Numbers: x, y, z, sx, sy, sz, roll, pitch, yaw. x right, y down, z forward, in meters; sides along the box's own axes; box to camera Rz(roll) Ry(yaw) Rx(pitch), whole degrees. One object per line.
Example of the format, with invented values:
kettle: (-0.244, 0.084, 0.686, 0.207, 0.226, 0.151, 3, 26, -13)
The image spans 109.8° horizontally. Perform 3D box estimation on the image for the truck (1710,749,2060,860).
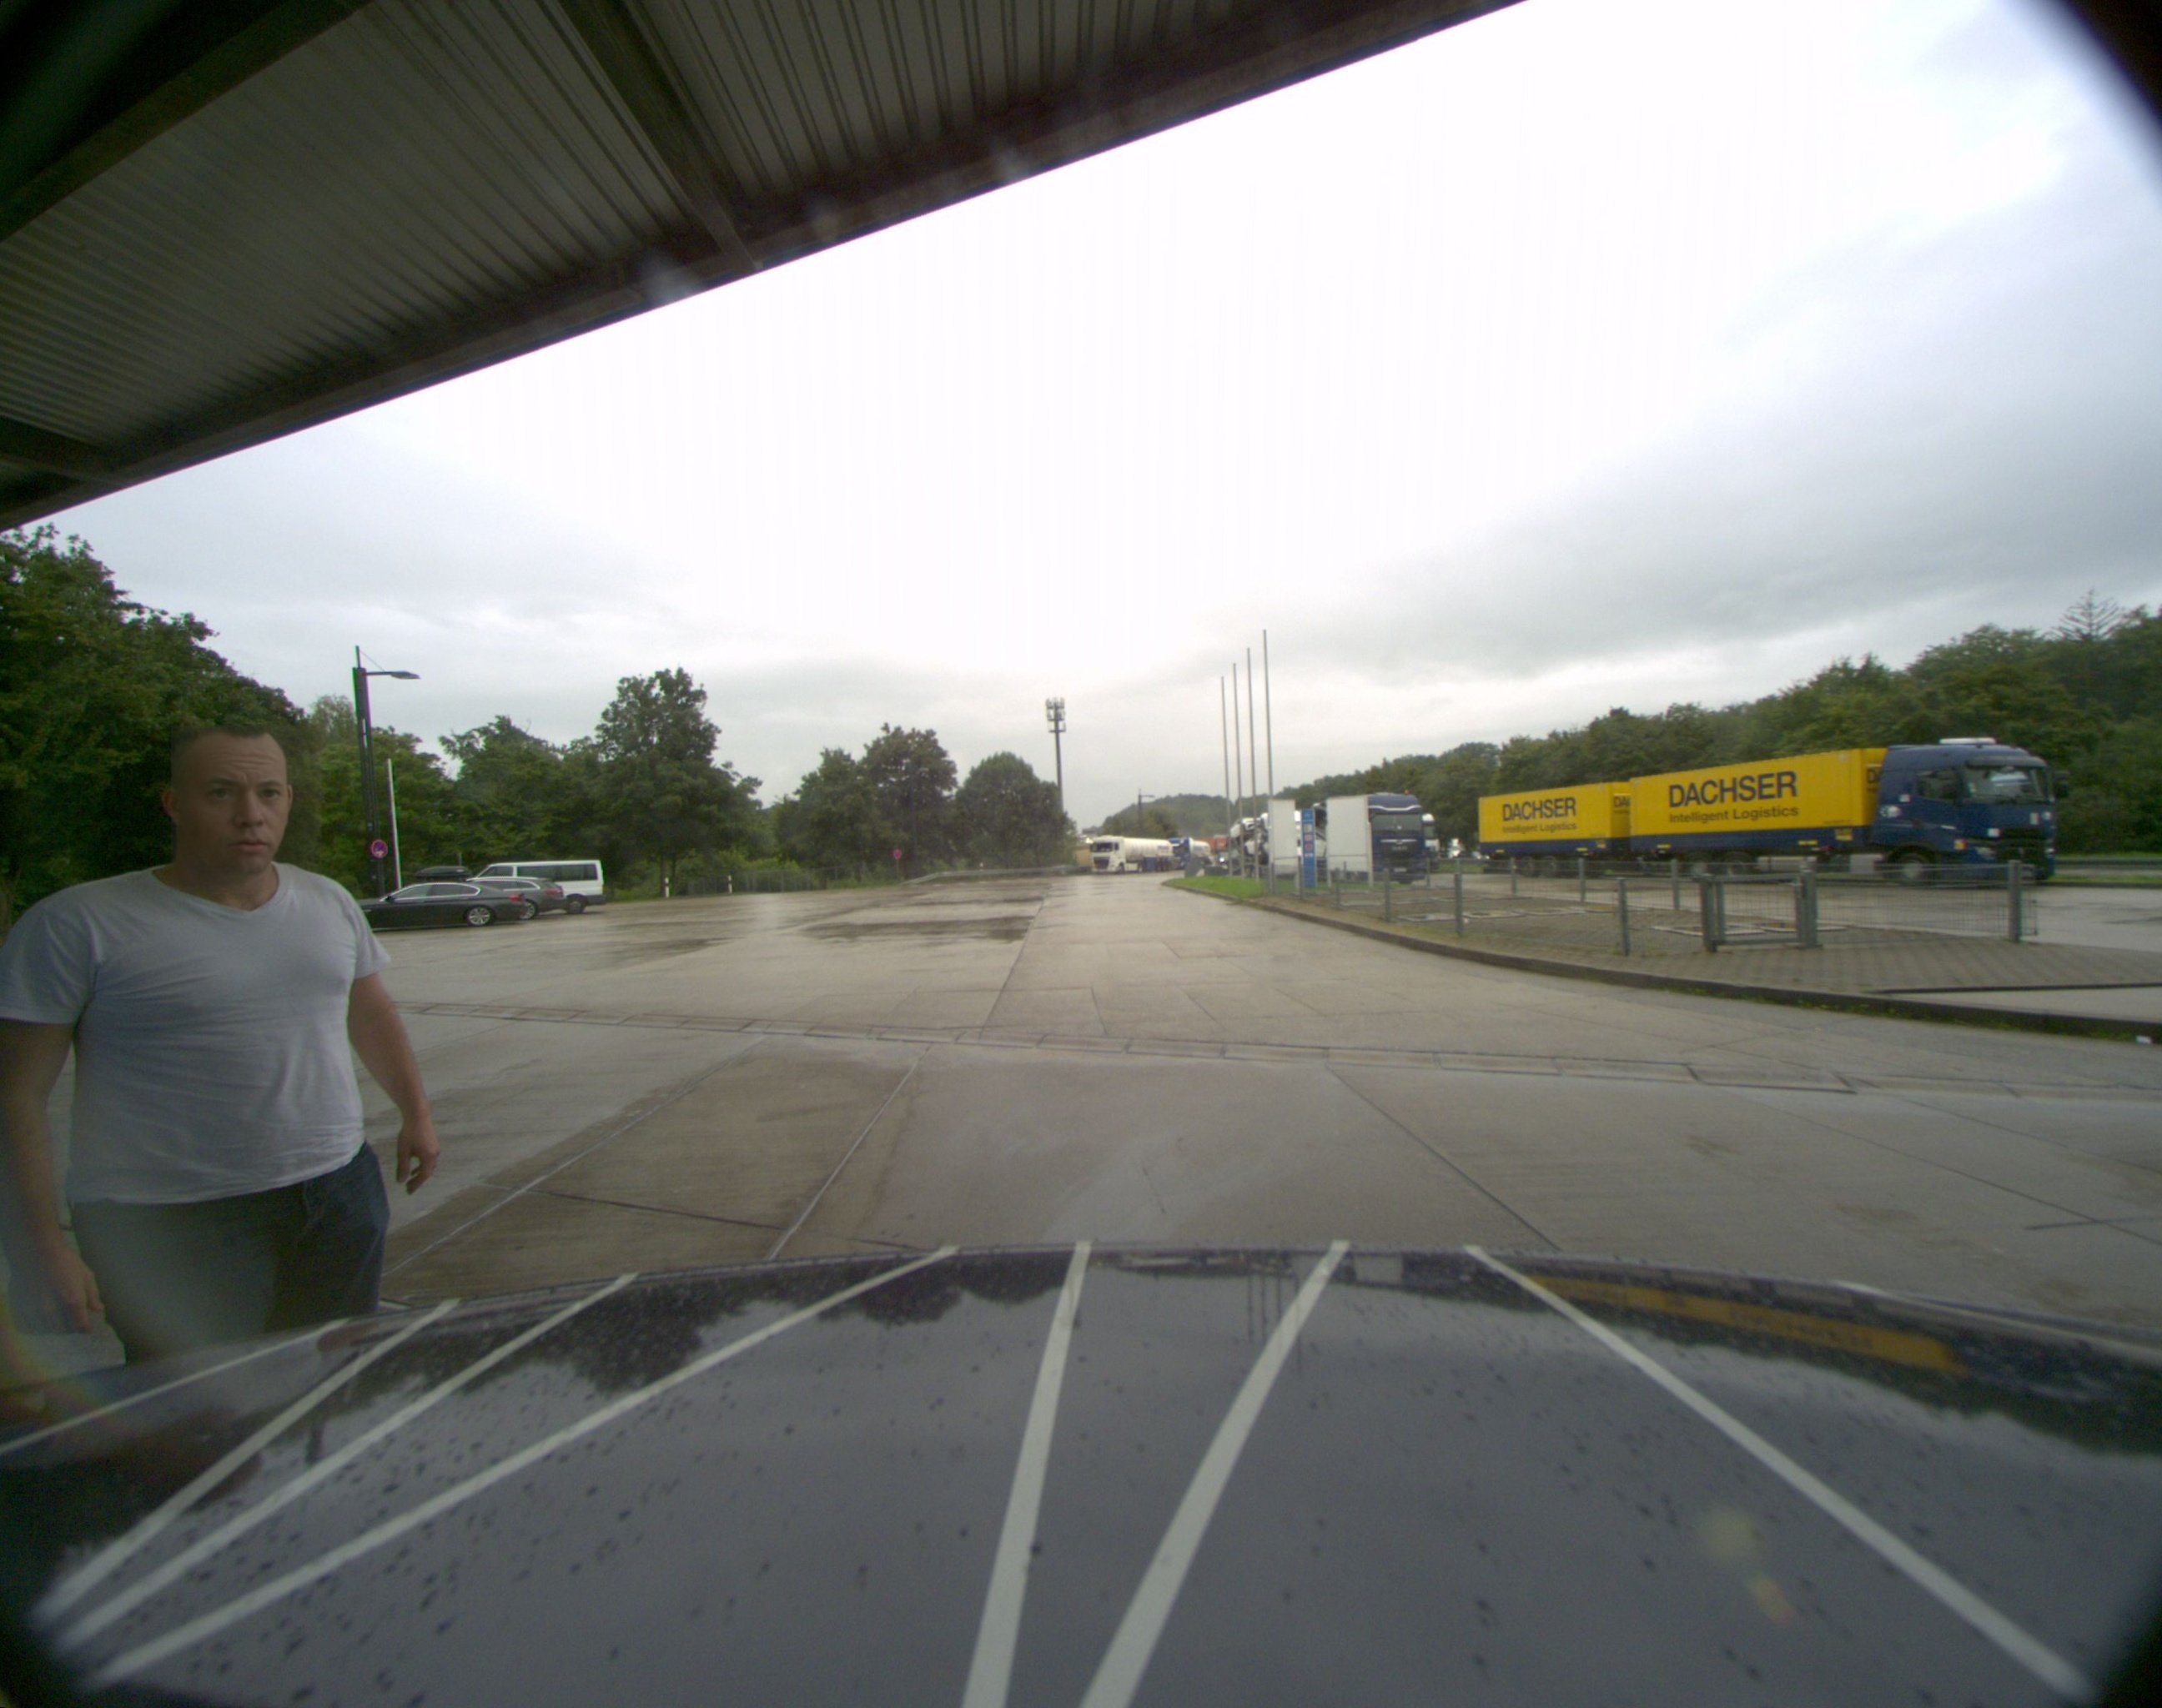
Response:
truck: (33.766, -1.849, 32.961, 2.991, 4.009, 10.464, -2, 1, -10)

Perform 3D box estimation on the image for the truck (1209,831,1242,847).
truck: (33.486, -3.476, 177.144, 3.251, 3.544, 14.655, -1, 1, -7)

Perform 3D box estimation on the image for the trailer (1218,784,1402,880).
trailer: (11.366, -1.001, 40.965, 2.990, 4.009, 16.597, -2, 1, -7)

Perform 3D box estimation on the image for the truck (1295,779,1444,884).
truck: (12.296, -0.924, 33.274, 2.990, 4.009, 7.259, -2, 1, -7)

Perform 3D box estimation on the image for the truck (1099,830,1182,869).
truck: (6.188, -0.527, 76.375, 3.243, 3.544, 11.995, -2, 1, 31)

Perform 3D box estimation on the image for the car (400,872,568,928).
car: (-19.659, 1.453, 25.305, 4.187, 1.547, 1.995, -2, 0, -33)

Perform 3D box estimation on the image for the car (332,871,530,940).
car: (-19.099, 1.449, 22.620, 4.187, 1.720, 1.995, -2, 0, -33)

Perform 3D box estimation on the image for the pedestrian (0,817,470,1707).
pedestrian: (-1.734, 0.842, 1.434, 0.493, 1.800, 0.634, -2, 2, 10)

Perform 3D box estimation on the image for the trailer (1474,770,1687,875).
trailer: (21.777, -1.276, 34.019, 2.774, 4.009, 8.853, -2, 1, -8)

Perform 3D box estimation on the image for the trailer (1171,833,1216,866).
trailer: (13.654, -0.658, 91.468, 2.898, 3.618, 10.586, -2, 1, 22)

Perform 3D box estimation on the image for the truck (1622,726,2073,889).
truck: (23.055, -1.215, 24.336, 2.774, 4.009, 10.632, -2, 1, -8)

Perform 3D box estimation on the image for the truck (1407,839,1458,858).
truck: (45.020, -0.690, 97.500, 3.135, 2.290, 6.172, -2, 0, -7)

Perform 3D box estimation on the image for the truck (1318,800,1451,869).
truck: (19.750, -1.223, 50.459, 2.991, 4.009, 10.464, -2, 1, -10)

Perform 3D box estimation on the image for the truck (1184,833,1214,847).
truck: (30.824, -3.556, 199.291, 3.251, 3.543, 16.548, -2, 1, -7)

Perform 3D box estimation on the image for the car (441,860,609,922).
car: (-20.271, 1.281, 27.934, 4.780, 1.974, 2.010, -2, 0, -36)

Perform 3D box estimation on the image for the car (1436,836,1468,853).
car: (51.567, -1.299, 105.819, 1.774, 2.278, 4.503, -2, 0, -8)

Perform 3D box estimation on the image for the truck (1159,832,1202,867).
truck: (11.315, -0.530, 85.760, 3.045, 3.745, 6.475, -2, 1, 23)

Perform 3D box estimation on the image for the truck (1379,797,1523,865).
truck: (24.352, -1.406, 50.984, 2.991, 4.009, 10.464, -2, 1, -10)

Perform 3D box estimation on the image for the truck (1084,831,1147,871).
truck: (3.305, -0.360, 71.463, 3.243, 3.544, 6.114, -2, 1, 31)
